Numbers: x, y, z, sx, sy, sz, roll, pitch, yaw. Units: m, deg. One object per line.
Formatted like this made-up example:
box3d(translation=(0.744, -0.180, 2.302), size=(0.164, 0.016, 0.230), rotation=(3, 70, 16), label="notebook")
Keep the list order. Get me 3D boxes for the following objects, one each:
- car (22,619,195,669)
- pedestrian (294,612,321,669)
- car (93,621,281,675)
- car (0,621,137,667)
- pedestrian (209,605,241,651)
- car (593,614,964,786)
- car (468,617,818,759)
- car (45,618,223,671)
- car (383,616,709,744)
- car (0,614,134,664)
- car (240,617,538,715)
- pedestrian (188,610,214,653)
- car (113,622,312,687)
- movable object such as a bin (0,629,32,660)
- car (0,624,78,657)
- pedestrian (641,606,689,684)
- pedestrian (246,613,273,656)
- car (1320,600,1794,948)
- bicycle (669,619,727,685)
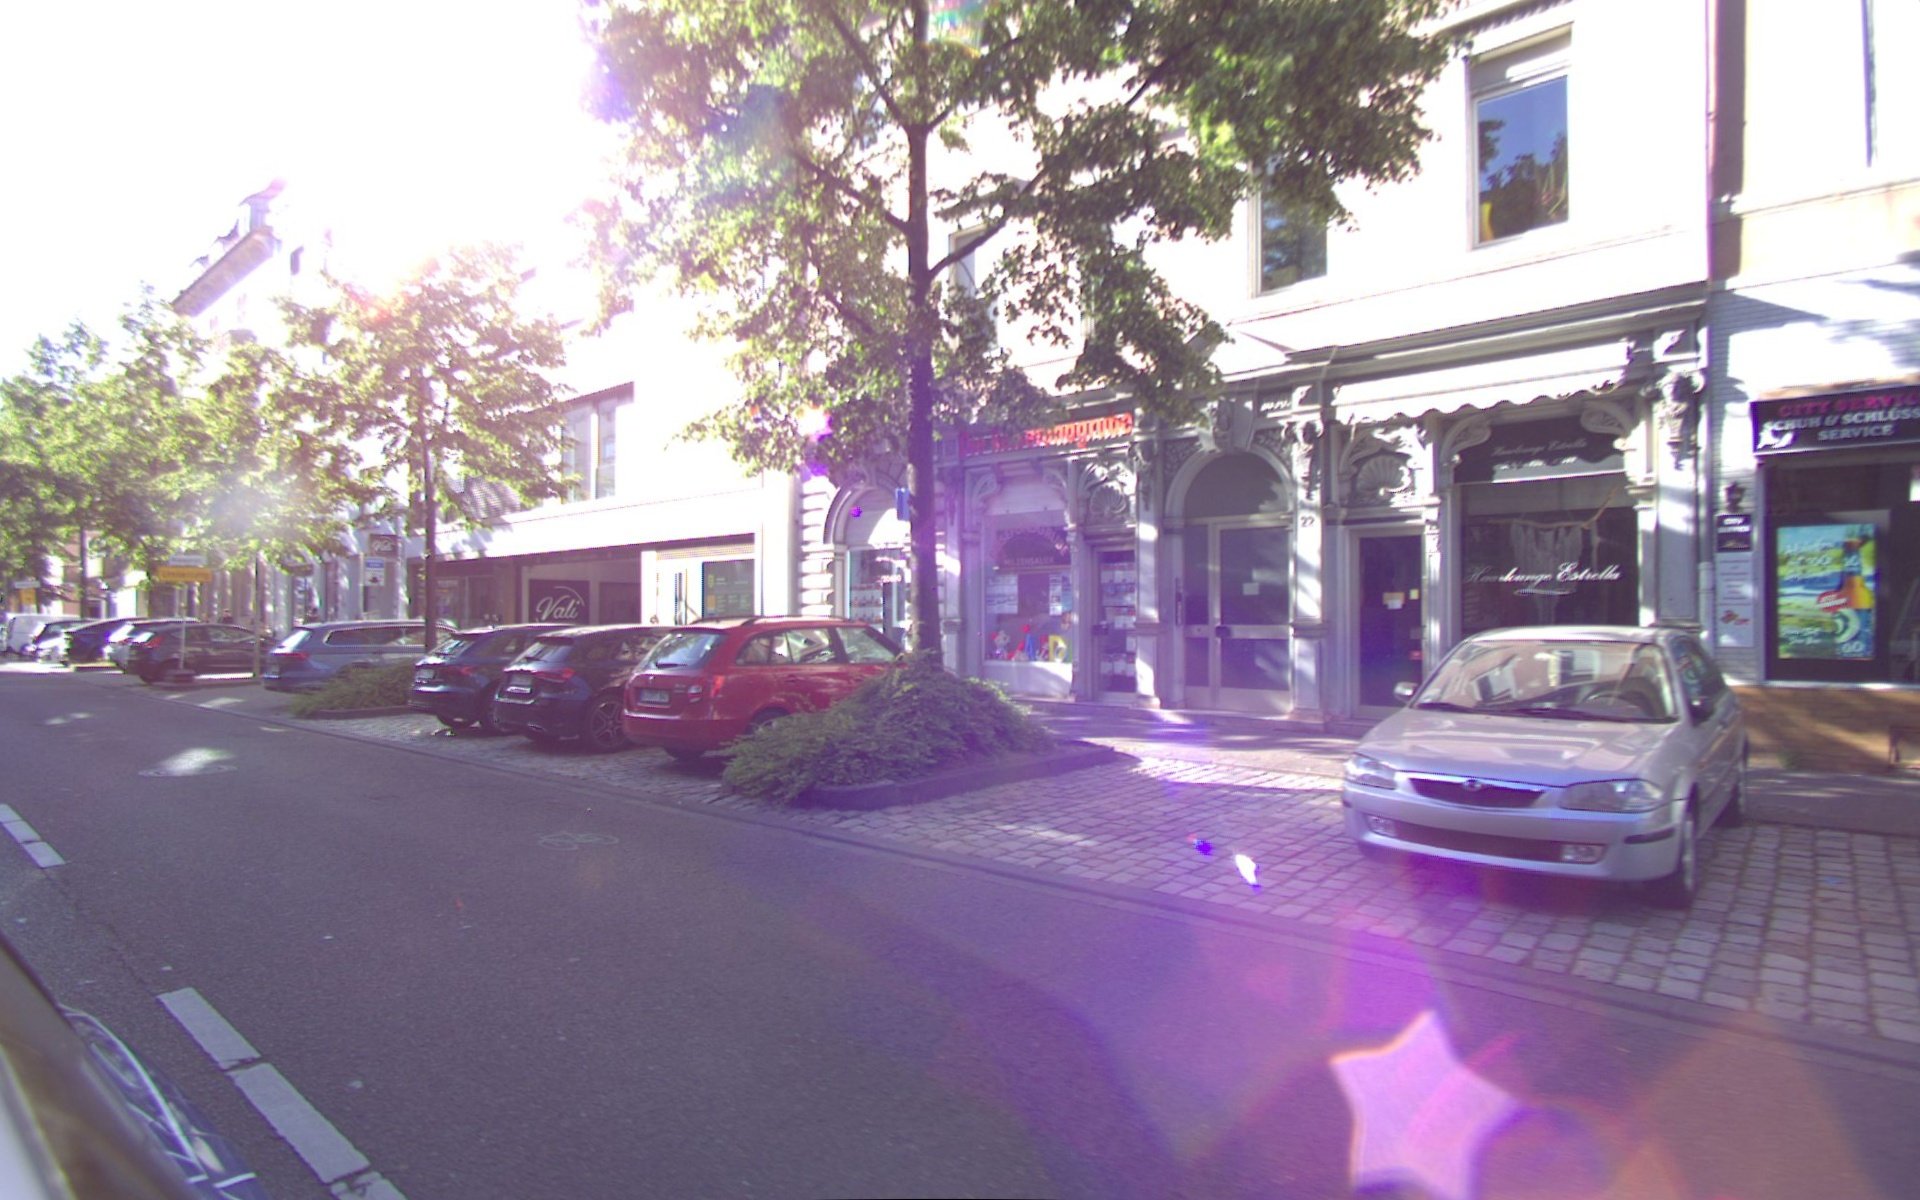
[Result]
box3d(translation=(-29.267, 1.462, 34.888), size=(1.945, 1.582, 4.321), rotation=(-2, -1, 41), label="car")
box3d(translation=(-21.162, 1.301, 32.831), size=(0.690, 1.811, 0.747), rotation=(0, -2, -37), label="pedestrian")
box3d(translation=(-23.438, 1.399, 30.809), size=(1.977, 1.470, 4.206), rotation=(-2, -1, 37), label="car")
box3d(translation=(-33.168, 1.605, 37.624), size=(1.791, 1.570, 3.760), rotation=(-2, -1, 41), label="car")
box3d(translation=(-29.391, 1.119, 40.482), size=(0.762, 1.779, 0.767), rotation=(-1, 3, 39), label="pedestrian")
box3d(translation=(-1.813, 0.923, 10.971), size=(1.738, 1.479, 3.709), rotation=(-2, -1, 40), label="car")
box3d(translation=(-3.823, 0.964, 12.638), size=(1.789, 1.439, 3.800), rotation=(-2, -1, 42), label="car")
box3d(translation=(-27.262, 1.432, 33.524), size=(1.979, 1.582, 4.321), rotation=(-2, -1, 41), label="car")
box3d(translation=(-5.715, 1.013, 14.296), size=(1.770, 1.497, 3.877), rotation=(-2, -1, 42), label="car")
box3d(translation=(-36.065, 1.533, 40.755), size=(2.038, 1.850, 4.062), rotation=(-2, -1, 41), label="car")
box3d(translation=(-10.394, 1.114, 18.729), size=(1.788, 1.469, 4.449), rotation=(-1, 0, 38), label="car")
box3d(translation=(-29.894, 1.222, 39.857), size=(0.726, 1.638, 0.560), rotation=(-1, 3, 39), label="pedestrian")
box3d(translation=(-18.873, 1.332, 25.692), size=(1.778, 1.470, 3.744), rotation=(-2, -1, 38), label="car")
box3d(translation=(-41.432, 1.942, 44.218), size=(0.869, 1.312, 1.225), rotation=(-1, -2, 40), label="movable object such as a bin")
box3d(translation=(-45.618, 1.970, 49.296), size=(1.708, 1.475, 3.742), rotation=(-2, -1, 38), label="car")
box3d(translation=(-5.553, 0.843, 19.051), size=(0.502, 1.419, 0.825), rotation=(-1, -1, -45), label="pedestrian")
box3d(translation=(-25.345, 1.237, 36.600), size=(0.842, 1.505, 0.586), rotation=(-2, 1, 42), label="pedestrian")
box3d(translation=(4.024, 0.761, 6.458), size=(1.740, 1.479, 4.157), rotation=(-2, -1, 43), label="car")
box3d(translation=(-5.041, 0.986, 19.441), size=(1.298, 1.201, 0.451), rotation=(-2, 1, 45), label="bicycle")
